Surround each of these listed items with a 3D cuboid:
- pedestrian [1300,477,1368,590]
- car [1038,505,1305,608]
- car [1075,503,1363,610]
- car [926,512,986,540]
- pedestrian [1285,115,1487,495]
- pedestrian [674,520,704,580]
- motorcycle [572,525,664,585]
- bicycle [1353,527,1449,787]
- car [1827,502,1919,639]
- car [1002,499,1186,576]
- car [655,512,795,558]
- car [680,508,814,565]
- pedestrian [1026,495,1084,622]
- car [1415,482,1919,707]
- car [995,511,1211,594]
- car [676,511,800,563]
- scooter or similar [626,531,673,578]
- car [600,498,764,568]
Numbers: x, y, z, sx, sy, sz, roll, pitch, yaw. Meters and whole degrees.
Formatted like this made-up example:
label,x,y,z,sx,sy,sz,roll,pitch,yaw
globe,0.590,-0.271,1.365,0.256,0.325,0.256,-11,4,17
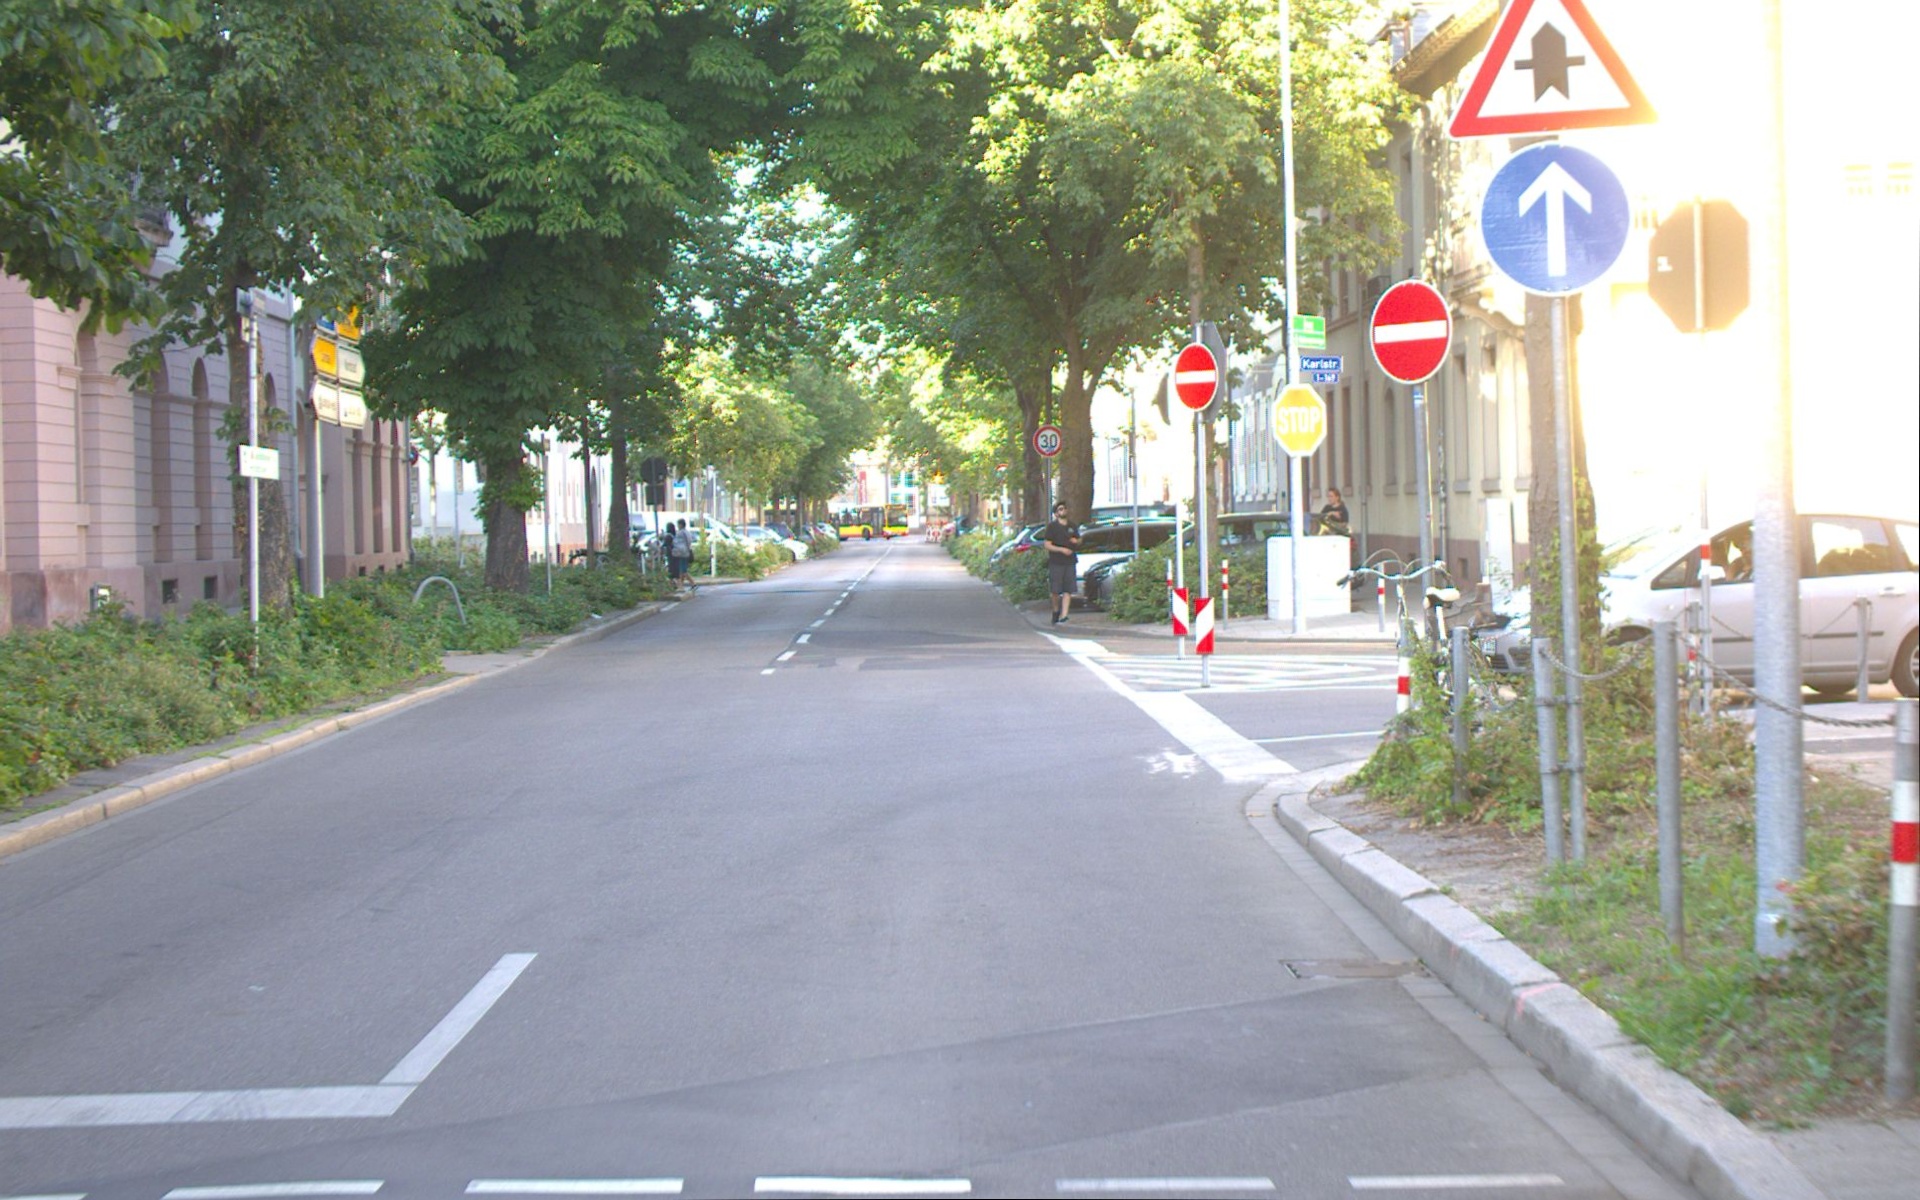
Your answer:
label,x,y,z,sx,sy,sz,roll,pitch,yaw
pedestrian,5.792,-1.037,53.249,0.943,1.700,0.782,-1,3,1
car,3.443,-0.732,56.455,4.192,1.475,1.852,-3,2,0
car,3.841,-0.666,51.490,4.107,1.485,1.850,-1,2,-1
car,-0.268,-5.218,242.487,3.988,1.831,2.000,-1,1,7
pedestrian,2.470,-1.692,20.073,1.043,2.139,1.063,0,1,0
pedestrian,-6.260,-1.155,79.409,0.655,1.390,0.607,0,1,-1
motorcycle,-7.471,-0.989,75.138,1.919,1.254,0.591,-1,1,-1
bicycle,2.452,0.295,19.050,0.417,1.367,1.288,-2,1,11
car,12.353,-0.367,39.363,4.415,1.537,1.864,0,2,26
car,3.005,-1.420,77.729,4.014,1.617,1.781,-2,1,-1
car,-8.891,-2.474,130.378,5.064,1.611,2.263,-2,2,3
car,-8.384,-2.526,135.778,5.064,2.076,2.263,-2,2,1
pedestrian,1.417,-0.623,51.223,0.794,1.862,0.751,-1,1,5
car,6.034,-0.086,27.493,4.337,1.648,1.886,-1,1,-16
car,2.743,-0.923,66.474,4.014,1.475,1.781,-1,1,-1
car,-9.435,-2.686,146.634,5.064,2.076,2.263,-2,2,1
scooter or similar,-7.224,-1.065,80.061,0.897,1.085,0.845,0,1,11
car,-8.888,-2.166,110.311,5.064,2.076,2.263,-2,2,-1
